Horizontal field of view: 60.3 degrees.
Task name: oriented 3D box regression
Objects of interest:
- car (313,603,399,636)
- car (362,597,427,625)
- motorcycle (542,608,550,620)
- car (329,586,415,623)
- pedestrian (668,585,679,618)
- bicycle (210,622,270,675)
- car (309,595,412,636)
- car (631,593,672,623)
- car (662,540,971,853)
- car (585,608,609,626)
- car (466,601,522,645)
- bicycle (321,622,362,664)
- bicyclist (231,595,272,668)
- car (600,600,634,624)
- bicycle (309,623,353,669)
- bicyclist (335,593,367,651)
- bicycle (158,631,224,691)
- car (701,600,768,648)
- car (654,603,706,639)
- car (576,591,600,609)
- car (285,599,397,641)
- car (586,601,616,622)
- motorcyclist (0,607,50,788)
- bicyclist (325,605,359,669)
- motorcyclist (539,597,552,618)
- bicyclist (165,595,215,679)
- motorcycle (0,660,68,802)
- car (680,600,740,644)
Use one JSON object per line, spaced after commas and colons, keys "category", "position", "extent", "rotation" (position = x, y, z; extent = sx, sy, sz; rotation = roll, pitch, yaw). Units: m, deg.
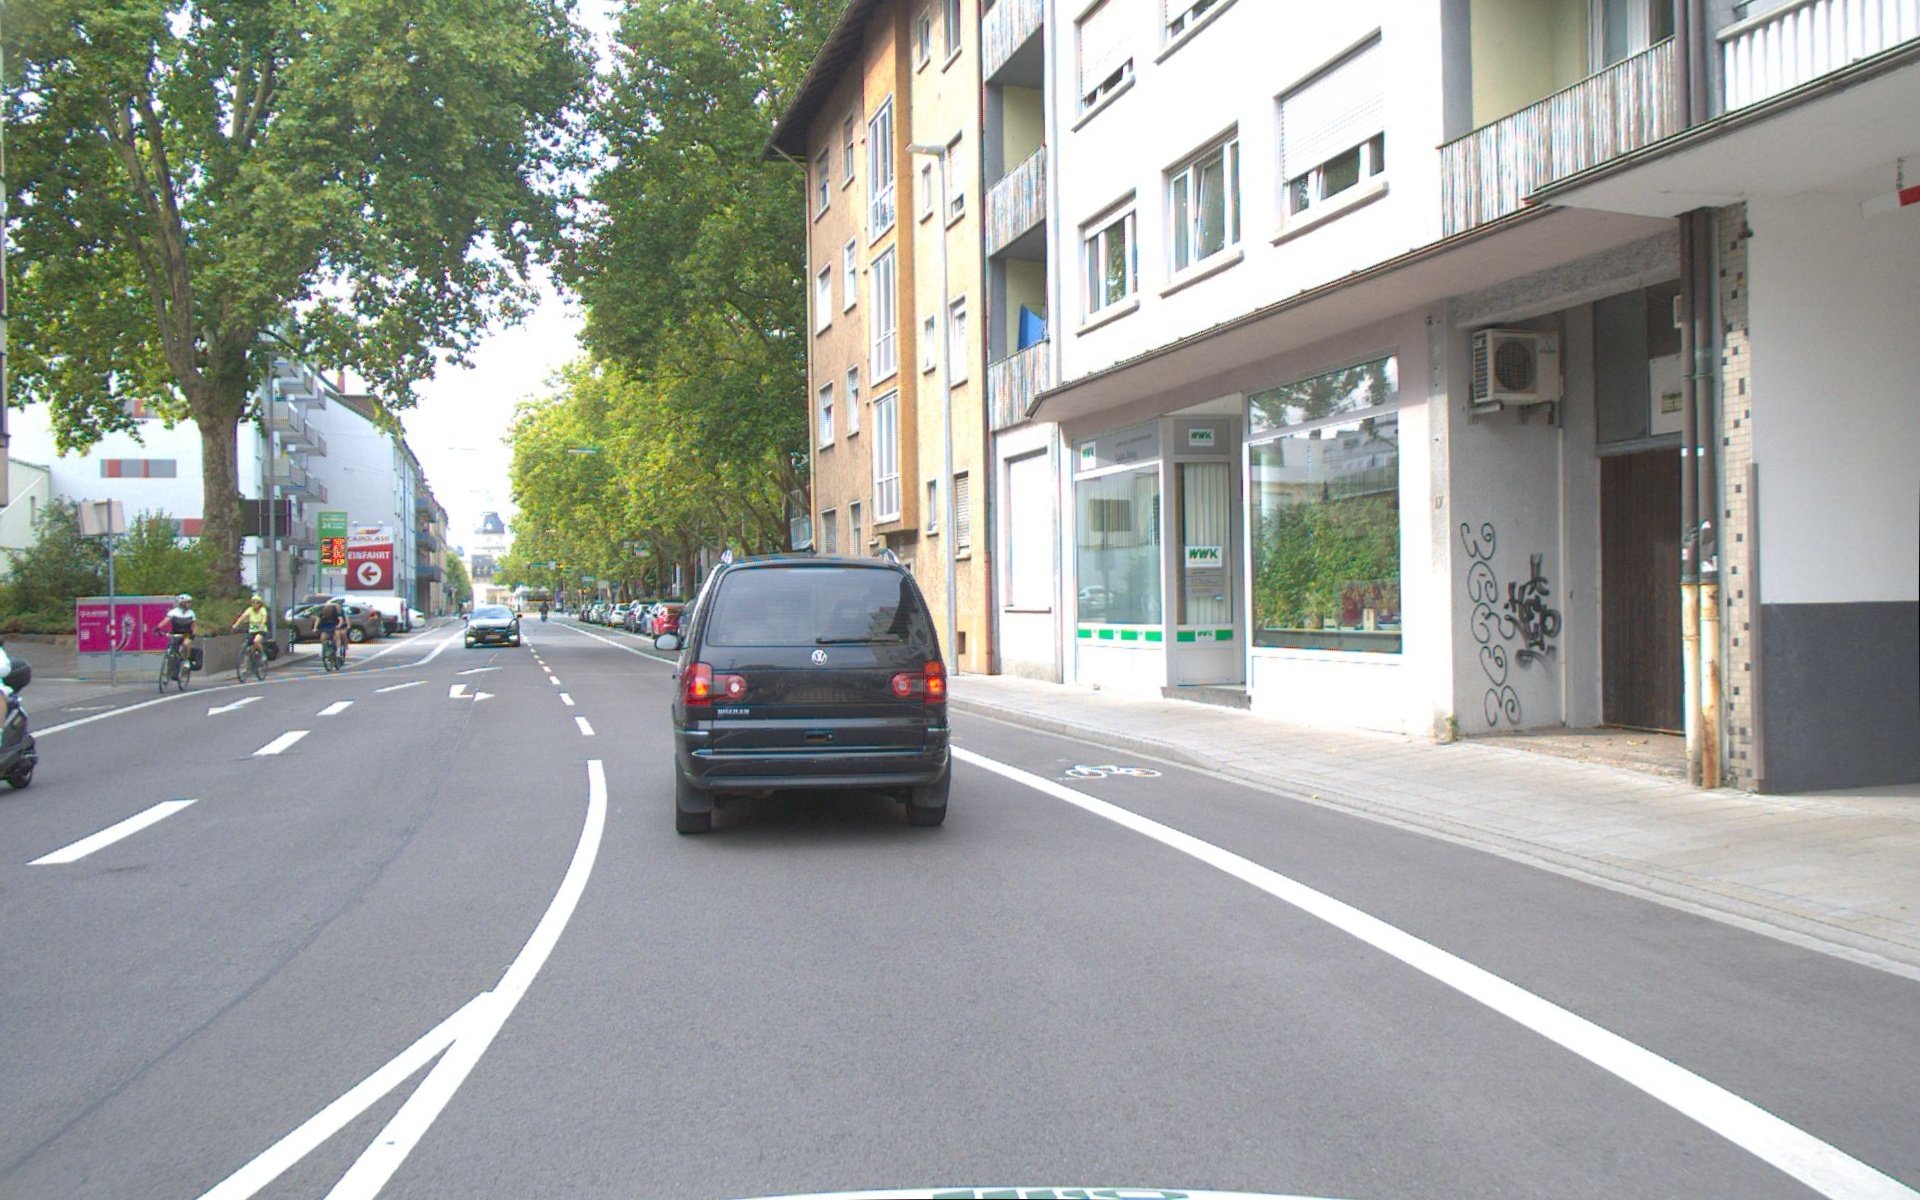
{"category": "car", "position": [-28.222, 0.921, 77.355], "extent": [3.623, 1.470, 1.745], "rotation": [1, 0, -17]}
{"category": "car", "position": [-31.246, 0.609, 91.467], "extent": [3.290, 1.523, 1.588], "rotation": [1, -1, -18]}
{"category": "motorcycle", "position": [-33.841, 1.146, 135.179], "extent": [0.615, 0.946, 2.393], "rotation": [-1, 0, -15]}
{"category": "car", "position": [-31.541, 0.272, 88.880], "extent": [4.239, 1.902, 1.815], "rotation": [1, -1, -18]}
{"category": "pedestrian", "position": [-18.073, 0.090, 104.205], "extent": [0.632, 2.010, 0.689], "rotation": [0, 1, -15]}
{"category": "bicycle", "position": [-15.475, 1.024, 35.603], "extent": [0.724, 1.024, 2.246], "rotation": [0, 1, -11]}
{"category": "car", "position": [-29.007, 0.737, 80.161], "extent": [4.451, 1.911, 2.038], "rotation": [1, 0, -15]}
{"category": "car", "position": [-15.770, 0.401, 84.395], "extent": [1.604, 1.495, 4.297], "rotation": [-1, 0, -17]}
{"category": "car", "position": [-1.018, 0.520, 11.436], "extent": [1.777, 1.796, 3.733], "rotation": [0, 1, -6]}
{"category": "car", "position": [-28.894, 1.334, 131.590], "extent": [1.649, 1.418, 3.861], "rotation": [-1, 0, -17]}
{"category": "car", "position": [-16.455, 0.791, 58.451], "extent": [1.781, 1.432, 4.588], "rotation": [-1, 0, -16]}
{"category": "bicycle", "position": [-16.649, 1.150, 44.571], "extent": [0.725, 1.024, 2.188], "rotation": [0, 1, -12]}
{"category": "bicyclist", "position": [-15.298, 0.674, 35.731], "extent": [0.645, 1.552, 0.838], "rotation": [0, 1, -12]}
{"category": "car", "position": [-21.270, 0.733, 102.445], "extent": [1.649, 1.418, 4.440], "rotation": [-1, 0, -17]}
{"category": "bicycle", "position": [-15.501, 1.122, 40.800], "extent": [0.725, 1.024, 1.970], "rotation": [0, 1, -13]}
{"category": "bicyclist", "position": [-16.579, 0.589, 45.009], "extent": [0.645, 1.552, 1.073], "rotation": [0, 1, -11]}
{"category": "bicycle", "position": [-14.724, 1.152, 31.714], "extent": [0.724, 1.024, 1.904], "rotation": [0, 1, -11]}
{"category": "car", "position": [-7.547, 0.769, 55.118], "extent": [1.631, 1.446, 3.849], "rotation": [-1, 1, -16]}
{"category": "car", "position": [-11.773, 0.858, 69.396], "extent": [1.649, 1.418, 4.440], "rotation": [-1, 0, -17]}
{"category": "car", "position": [-30.781, -0.014, 136.855], "extent": [1.649, 1.418, 3.861], "rotation": [-1, 0, -17]}
{"category": "car", "position": [-25.833, 0.830, 69.113], "extent": [4.186, 1.633, 1.960], "rotation": [0, 1, -16]}
{"category": "car", "position": [-25.391, 0.820, 116.928], "extent": [1.617, 1.438, 3.397], "rotation": [-1, 0, -19]}
{"category": "motorcyclist", "position": [-8.310, 0.826, 13.965], "extent": [0.781, 1.486, 0.863], "rotation": [-3, 0, -10]}
{"category": "bicyclist", "position": [-15.356, 0.910, 41.088], "extent": [0.645, 1.552, 0.854], "rotation": [0, 1, -12]}
{"category": "motorcyclist", "position": [-33.895, 0.636, 135.171], "extent": [0.938, 1.689, 1.250], "rotation": [-1, 0, -17]}
{"category": "bicyclist", "position": [-14.734, 0.700, 31.654], "extent": [0.645, 1.552, 0.999], "rotation": [0, 1, -12]}
{"category": "motorcycle", "position": [-8.280, 1.117, 13.870], "extent": [0.708, 1.114, 2.032], "rotation": [-3, 0, -9]}
{"category": "car", "position": [-8.984, 0.765, 59.206], "extent": [1.631, 1.447, 3.929], "rotation": [-1, 1, -16]}
